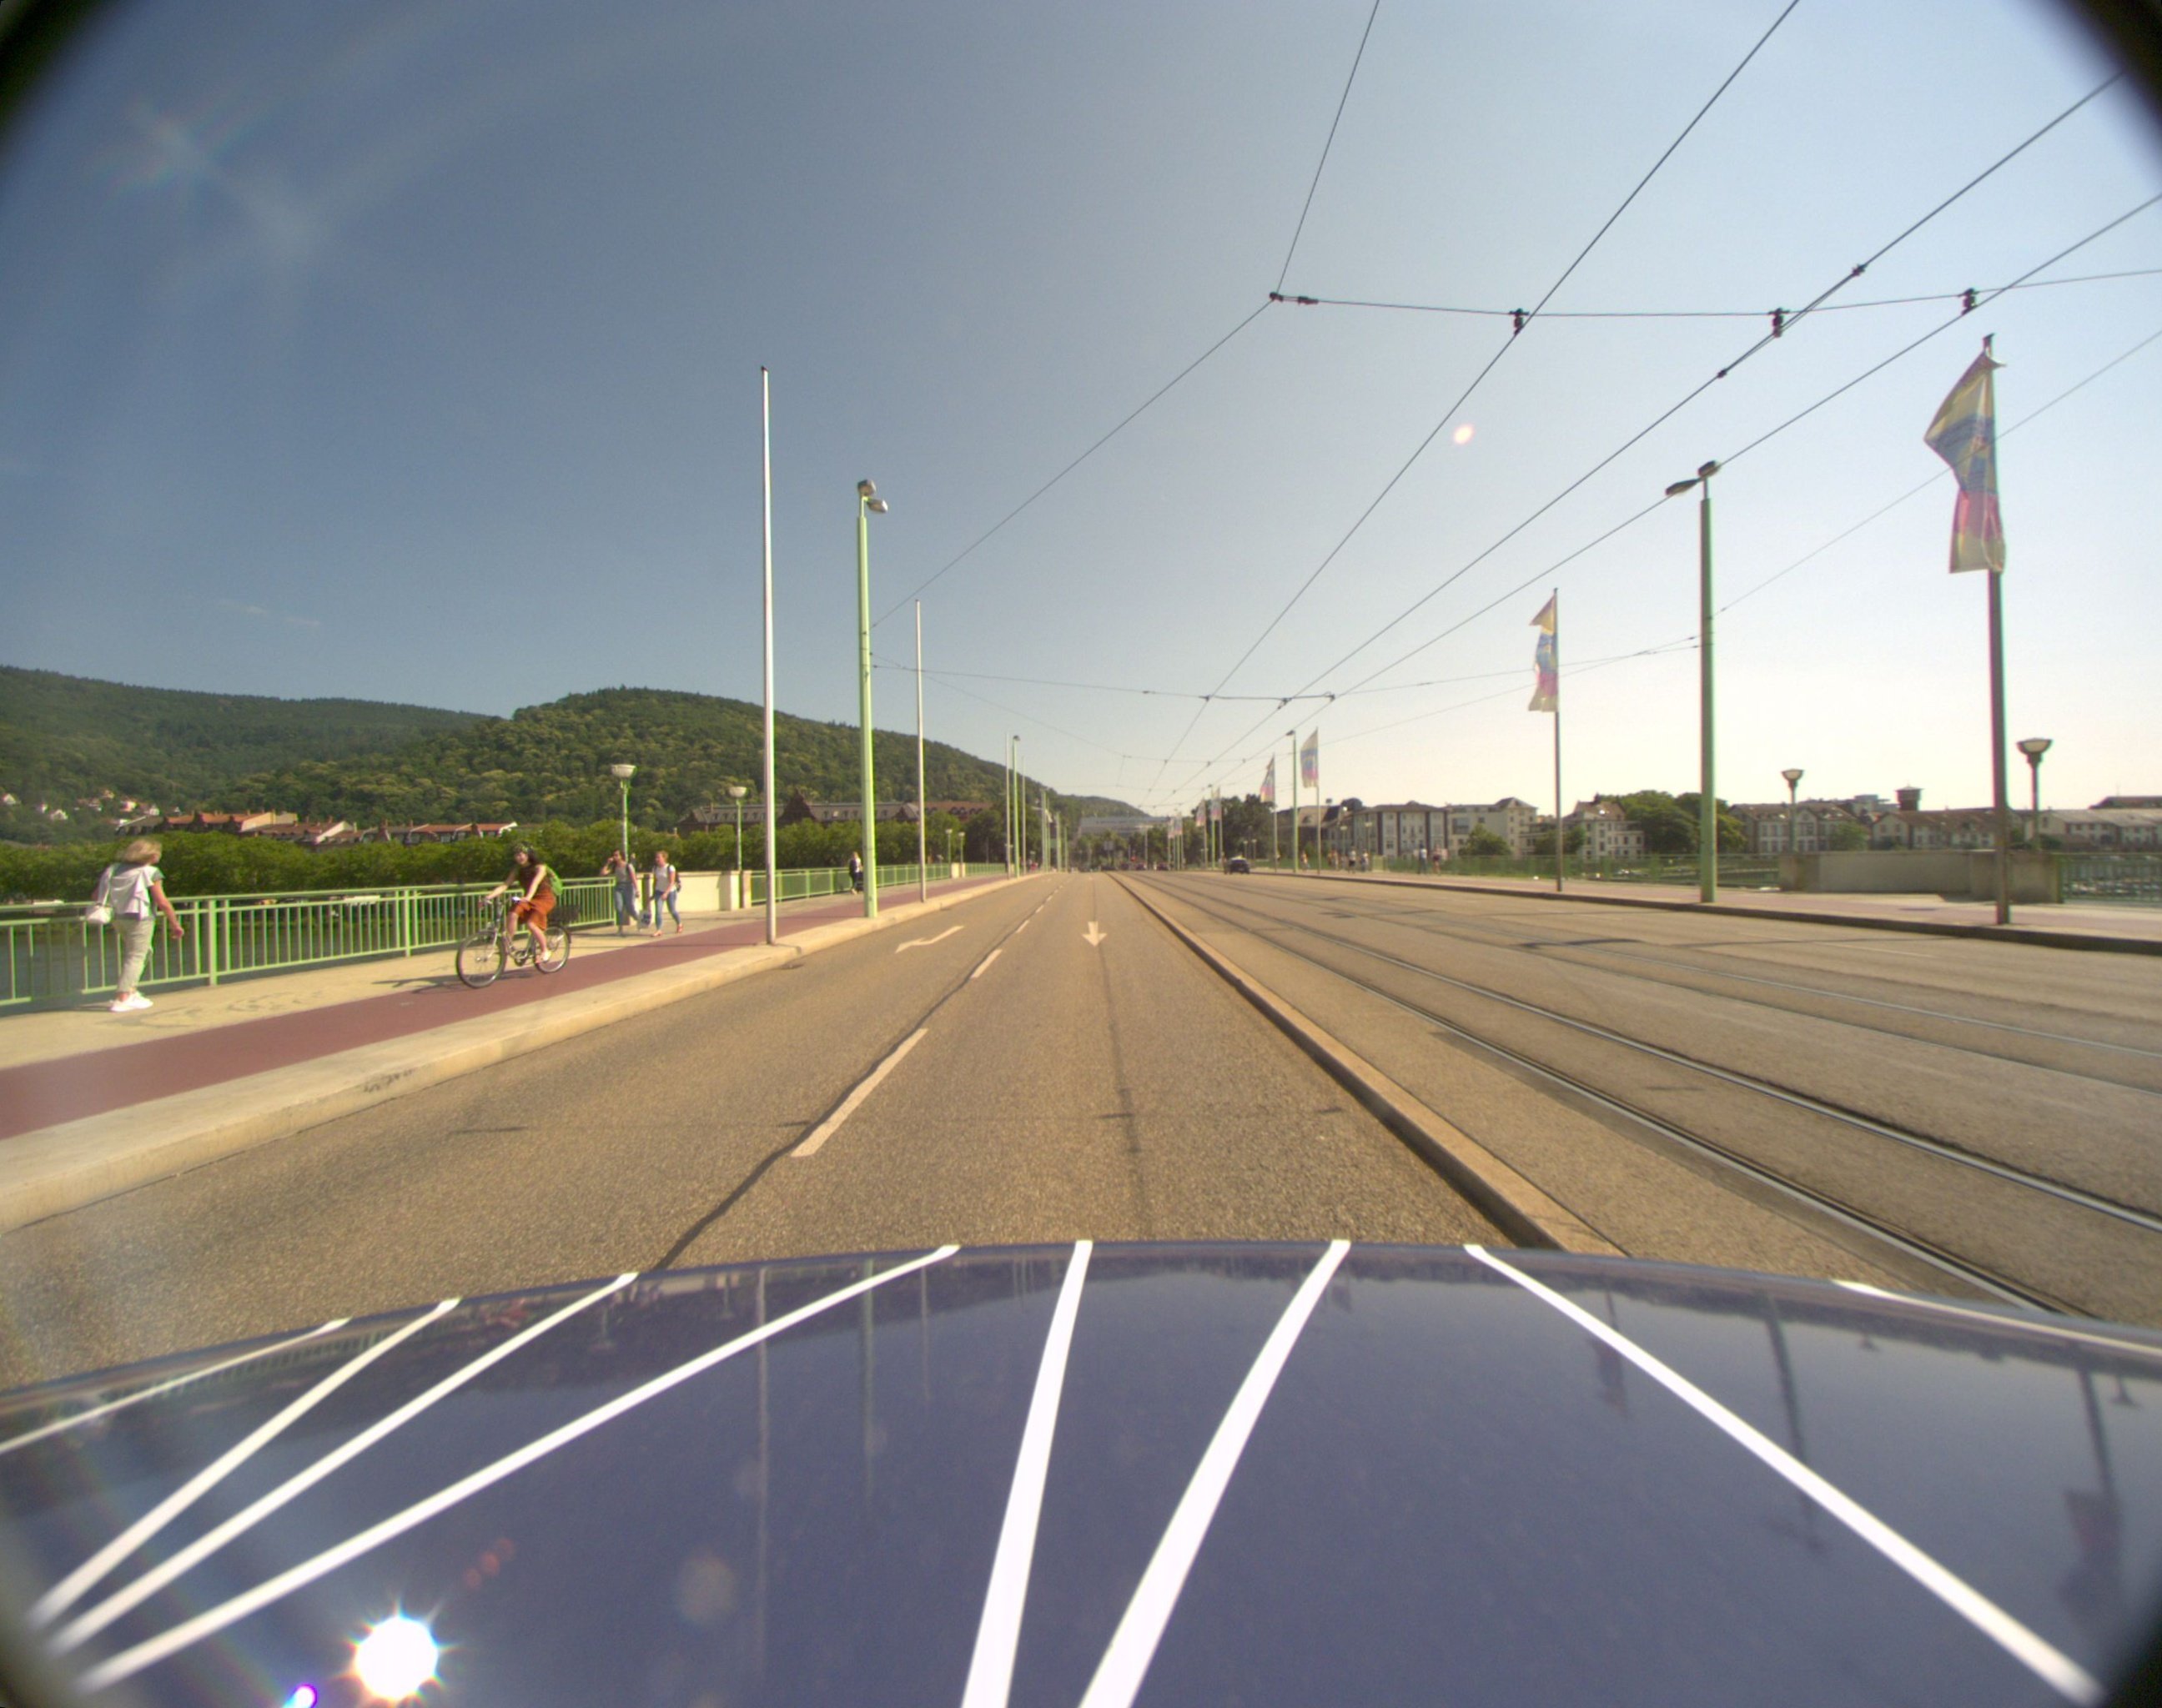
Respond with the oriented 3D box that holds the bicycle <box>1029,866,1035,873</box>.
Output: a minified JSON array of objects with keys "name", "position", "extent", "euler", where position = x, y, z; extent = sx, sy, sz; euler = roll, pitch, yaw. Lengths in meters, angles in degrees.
[{"name":"bicycle","position":[-6.004,1.894,93.950],"extent":[0.595,0.761,1.866],"euler":[1,0,1]}]

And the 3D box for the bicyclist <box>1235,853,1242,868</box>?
[{"name":"bicyclist","position":[17.991,0.747,86.785],"extent":[0.666,1.641,0.622],"euler":[-1,1,2]}]

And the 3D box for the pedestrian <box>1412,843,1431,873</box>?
[{"name":"pedestrian","position":[19.928,0.230,44.427],"extent":[0.592,1.690,1.022],"euler":[-3,1,1]}]

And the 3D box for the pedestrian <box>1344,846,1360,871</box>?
[{"name":"pedestrian","position":[18.445,0.288,51.751],"extent":[0.671,1.690,1.022],"euler":[-3,1,1]}]

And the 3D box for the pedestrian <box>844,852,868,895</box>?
[{"name":"pedestrian","position":[-8.964,0.752,30.268],"extent":[0.664,1.696,0.859],"euler":[0,1,1]}]

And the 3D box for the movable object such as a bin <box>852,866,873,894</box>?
[{"name":"movable object such as a bin","position":[-8.941,1.058,31.117],"extent":[0.583,1.084,0.933],"euler":[0,1,0]}]

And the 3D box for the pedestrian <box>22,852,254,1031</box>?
[{"name":"pedestrian","position":[-9.343,0.816,7.595],"extent":[0.950,1.653,1.082],"euler":[0,1,1]}]

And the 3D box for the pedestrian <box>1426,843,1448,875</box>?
[{"name":"pedestrian","position":[19.351,0.249,41.297],"extent":[0.686,1.681,1.022],"euler":[-3,1,1]}]

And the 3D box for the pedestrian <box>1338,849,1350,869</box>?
[{"name":"pedestrian","position":[19.790,0.358,57.117],"extent":[0.547,1.429,0.789],"euler":[-3,1,1]}]

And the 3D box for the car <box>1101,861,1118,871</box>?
[{"name":"car","position":[7.088,2.879,187.100],"extent":[3.996,2.002,2.000],"euler":[-5,1,3]}]

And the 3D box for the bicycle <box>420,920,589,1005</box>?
[{"name":"bicycle","position":[-6.907,1.267,9.243],"extent":[0.595,0.761,1.866],"euler":[0,0,1]}]

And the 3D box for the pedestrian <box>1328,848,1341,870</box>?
[{"name":"pedestrian","position":[19.057,0.367,57.155],"extent":[0.627,1.590,1.022],"euler":[-3,1,1]}]

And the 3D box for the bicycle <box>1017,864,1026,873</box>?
[{"name":"bicycle","position":[-5.364,1.336,68.660],"extent":[0.595,0.761,1.866],"euler":[0,0,1]}]

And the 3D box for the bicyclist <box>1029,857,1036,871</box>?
[{"name":"bicyclist","position":[-6.022,1.227,93.748],"extent":[0.731,1.655,0.844],"euler":[1,1,1]}]

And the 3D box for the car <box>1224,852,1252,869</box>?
[{"name":"car","position":[13.799,0.561,66.897],"extent":[1.720,1.446,3.901],"euler":[0,0,1]}]

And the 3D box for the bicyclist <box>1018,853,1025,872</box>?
[{"name":"bicyclist","position":[-5.371,0.747,68.679],"extent":[0.587,1.759,0.672],"euler":[0,1,1]}]

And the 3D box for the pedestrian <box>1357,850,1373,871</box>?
[{"name":"pedestrian","position":[19.191,0.436,51.341],"extent":[0.592,1.406,1.022],"euler":[-3,1,1]}]

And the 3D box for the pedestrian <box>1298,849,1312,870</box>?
[{"name":"pedestrian","position":[18.887,0.451,64.156],"extent":[0.787,1.690,1.022],"euler":[-3,1,1]}]

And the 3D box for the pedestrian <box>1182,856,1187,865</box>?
[{"name":"pedestrian","position":[19.386,1.203,141.967],"extent":[0.787,1.690,1.022],"euler":[-3,1,1]}]

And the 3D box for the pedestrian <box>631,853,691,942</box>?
[{"name":"pedestrian","position":[-8.020,0.805,14.531],"extent":[0.664,1.649,0.825],"euler":[0,1,1]}]

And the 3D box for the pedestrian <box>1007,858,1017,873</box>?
[{"name":"pedestrian","position":[-7.931,1.314,87.122],"extent":[0.950,1.653,1.082],"euler":[1,1,1]}]

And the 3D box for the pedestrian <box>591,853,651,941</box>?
[{"name":"pedestrian","position":[-8.773,0.800,14.518],"extent":[0.669,1.649,0.746],"euler":[0,1,1]}]

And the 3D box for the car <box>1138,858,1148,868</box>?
[{"name":"car","position":[12.382,1.830,151.397],"extent":[1.714,1.686,4.000],"euler":[-5,0,2]}]

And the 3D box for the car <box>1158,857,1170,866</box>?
[{"name":"car","position":[14.615,1.258,134.012],"extent":[1.672,1.428,4.000],"euler":[-1,1,2]}]

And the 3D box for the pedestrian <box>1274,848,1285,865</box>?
[{"name":"pedestrian","position":[20.567,0.292,78.846],"extent":[0.787,1.690,1.022],"euler":[-3,1,1]}]

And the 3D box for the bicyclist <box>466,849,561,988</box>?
[{"name":"bicyclist","position":[-6.909,0.758,9.284],"extent":[0.606,1.641,0.702],"euler":[0,1,2]}]
